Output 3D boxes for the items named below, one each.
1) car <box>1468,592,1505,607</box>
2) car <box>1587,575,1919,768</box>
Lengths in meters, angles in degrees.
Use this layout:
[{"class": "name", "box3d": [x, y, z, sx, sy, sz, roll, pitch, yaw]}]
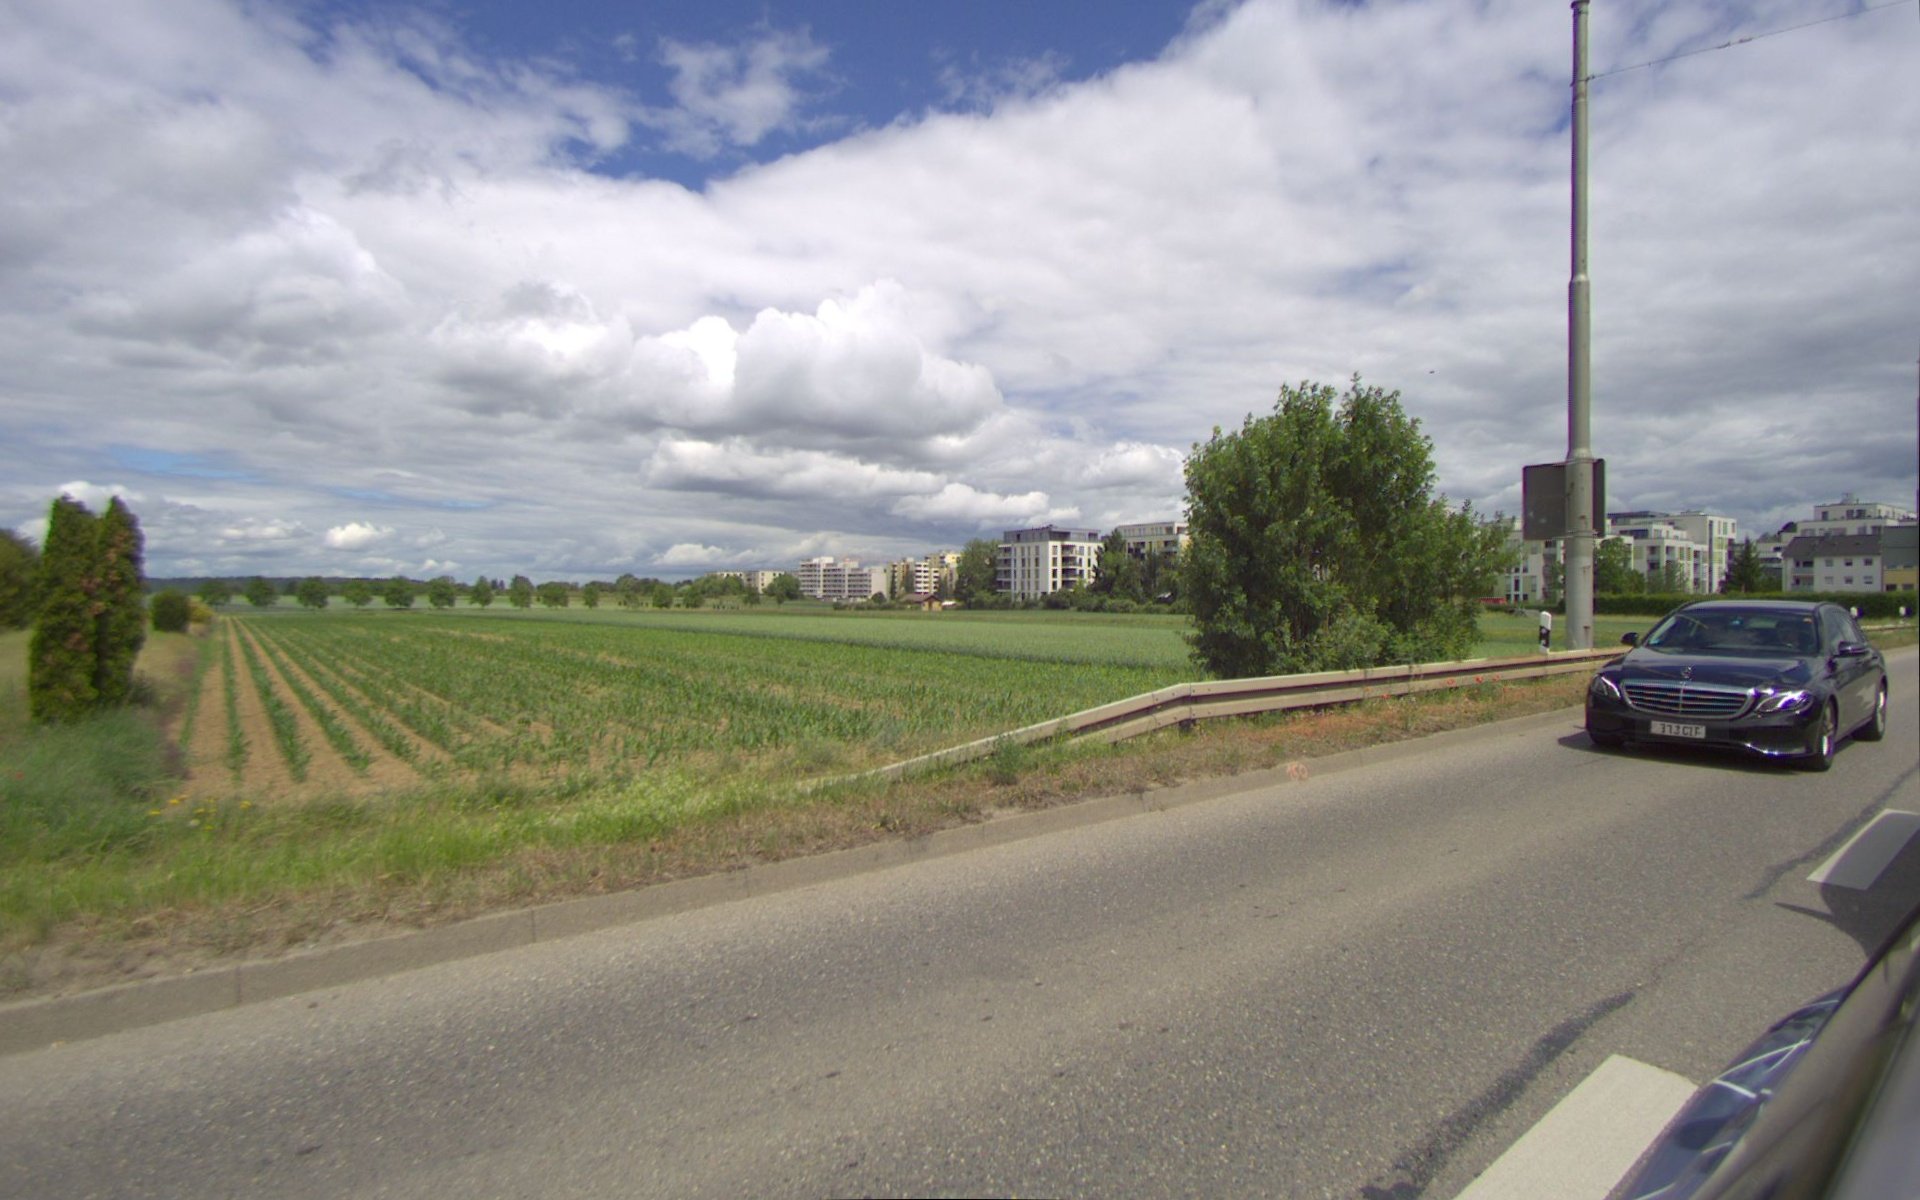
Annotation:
[{"class": "car", "box3d": [76.871, -0.076, 147.839, 1.964, 2.039, 4.436, -1, 1, -39]}, {"class": "car", "box3d": [8.337, 0.633, 10.454, 4.720, 1.557, 1.841, 2, -1, -41]}]
